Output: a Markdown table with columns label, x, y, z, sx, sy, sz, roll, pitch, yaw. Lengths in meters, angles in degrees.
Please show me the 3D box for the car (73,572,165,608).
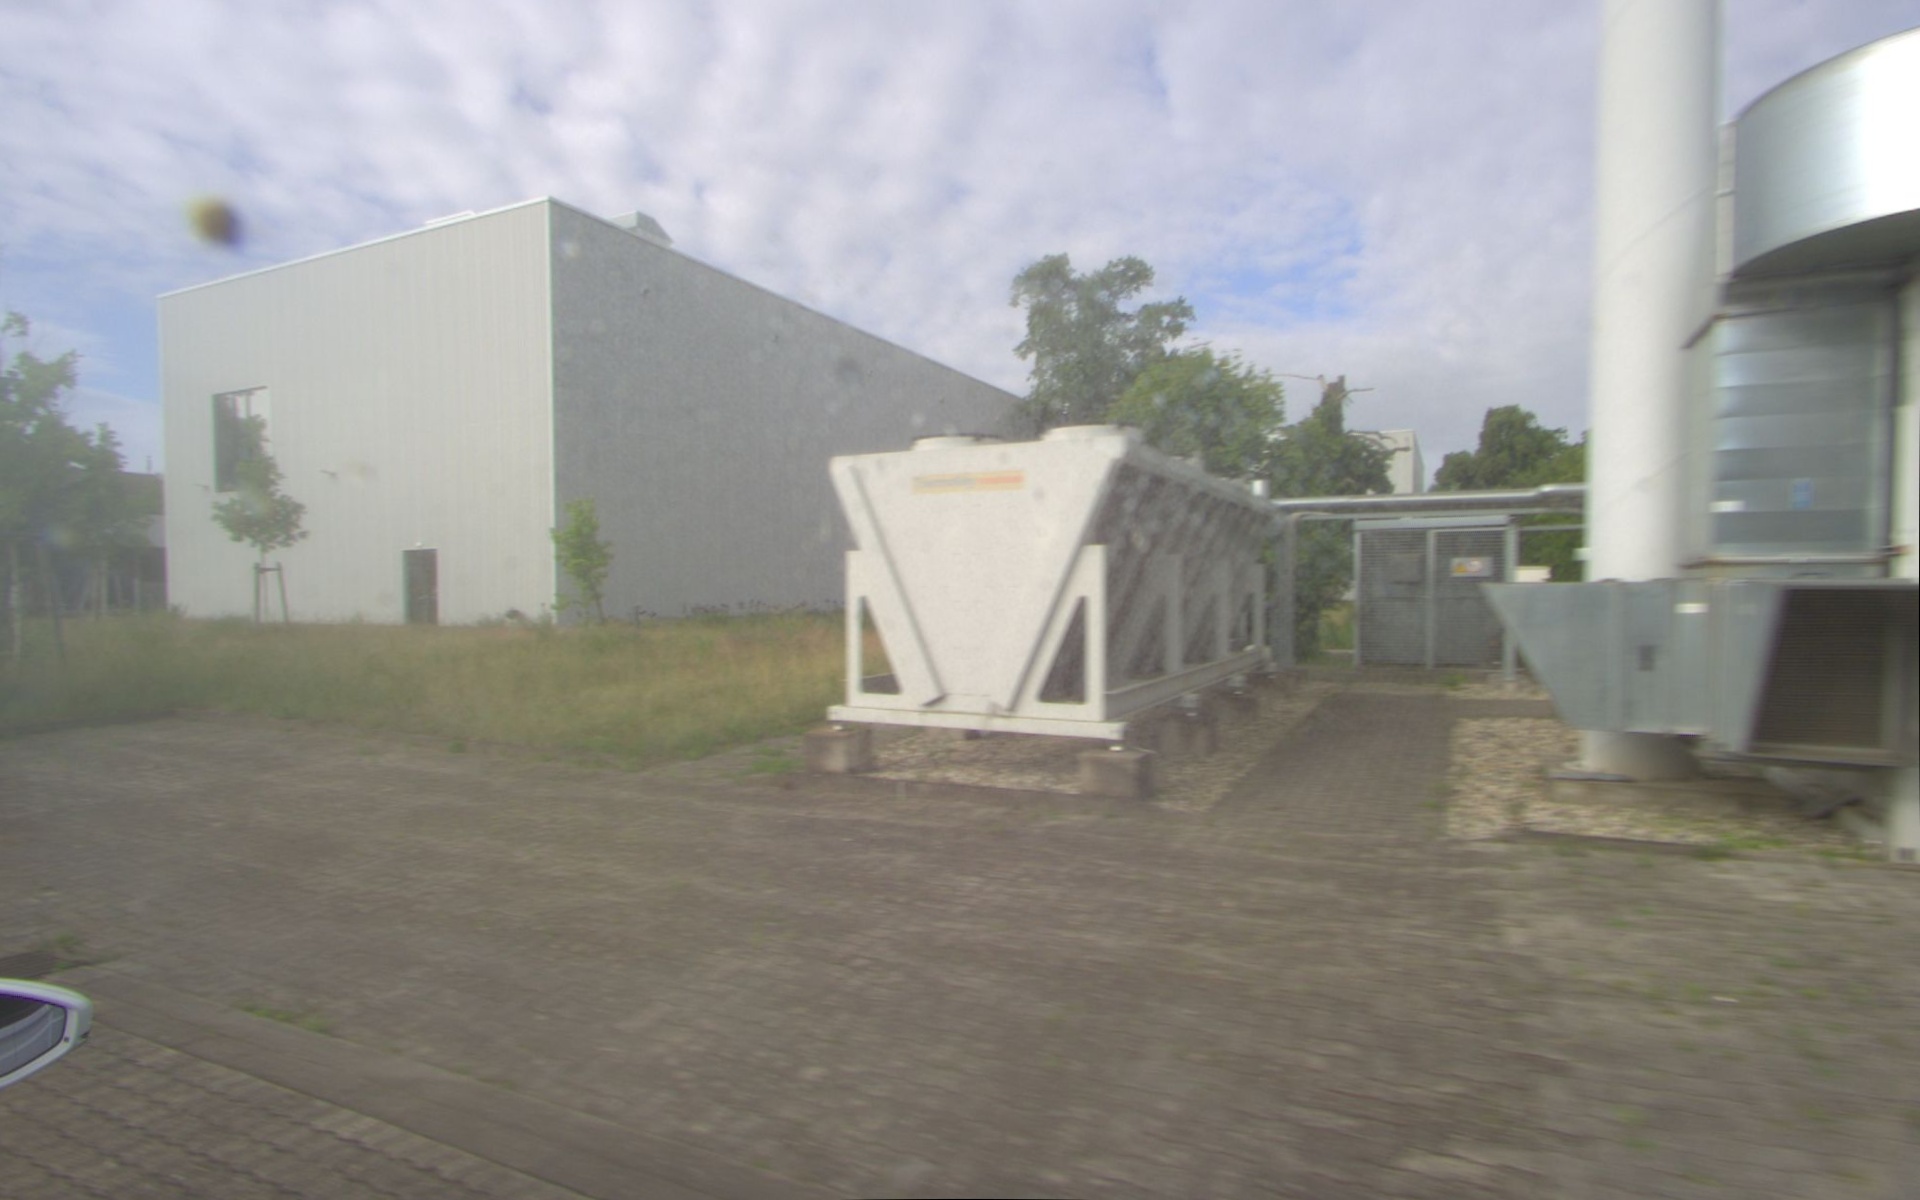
| label | x | y | z | sx | sy | sz | roll | pitch | yaw |
| --- | --- | --- | --- | --- | --- | --- | --- | --- | --- |
| car | -49.549 | -0.601 | 58.979 | 5.251 | 2.041 | 2.240 | 0 | 1 | 26 |
